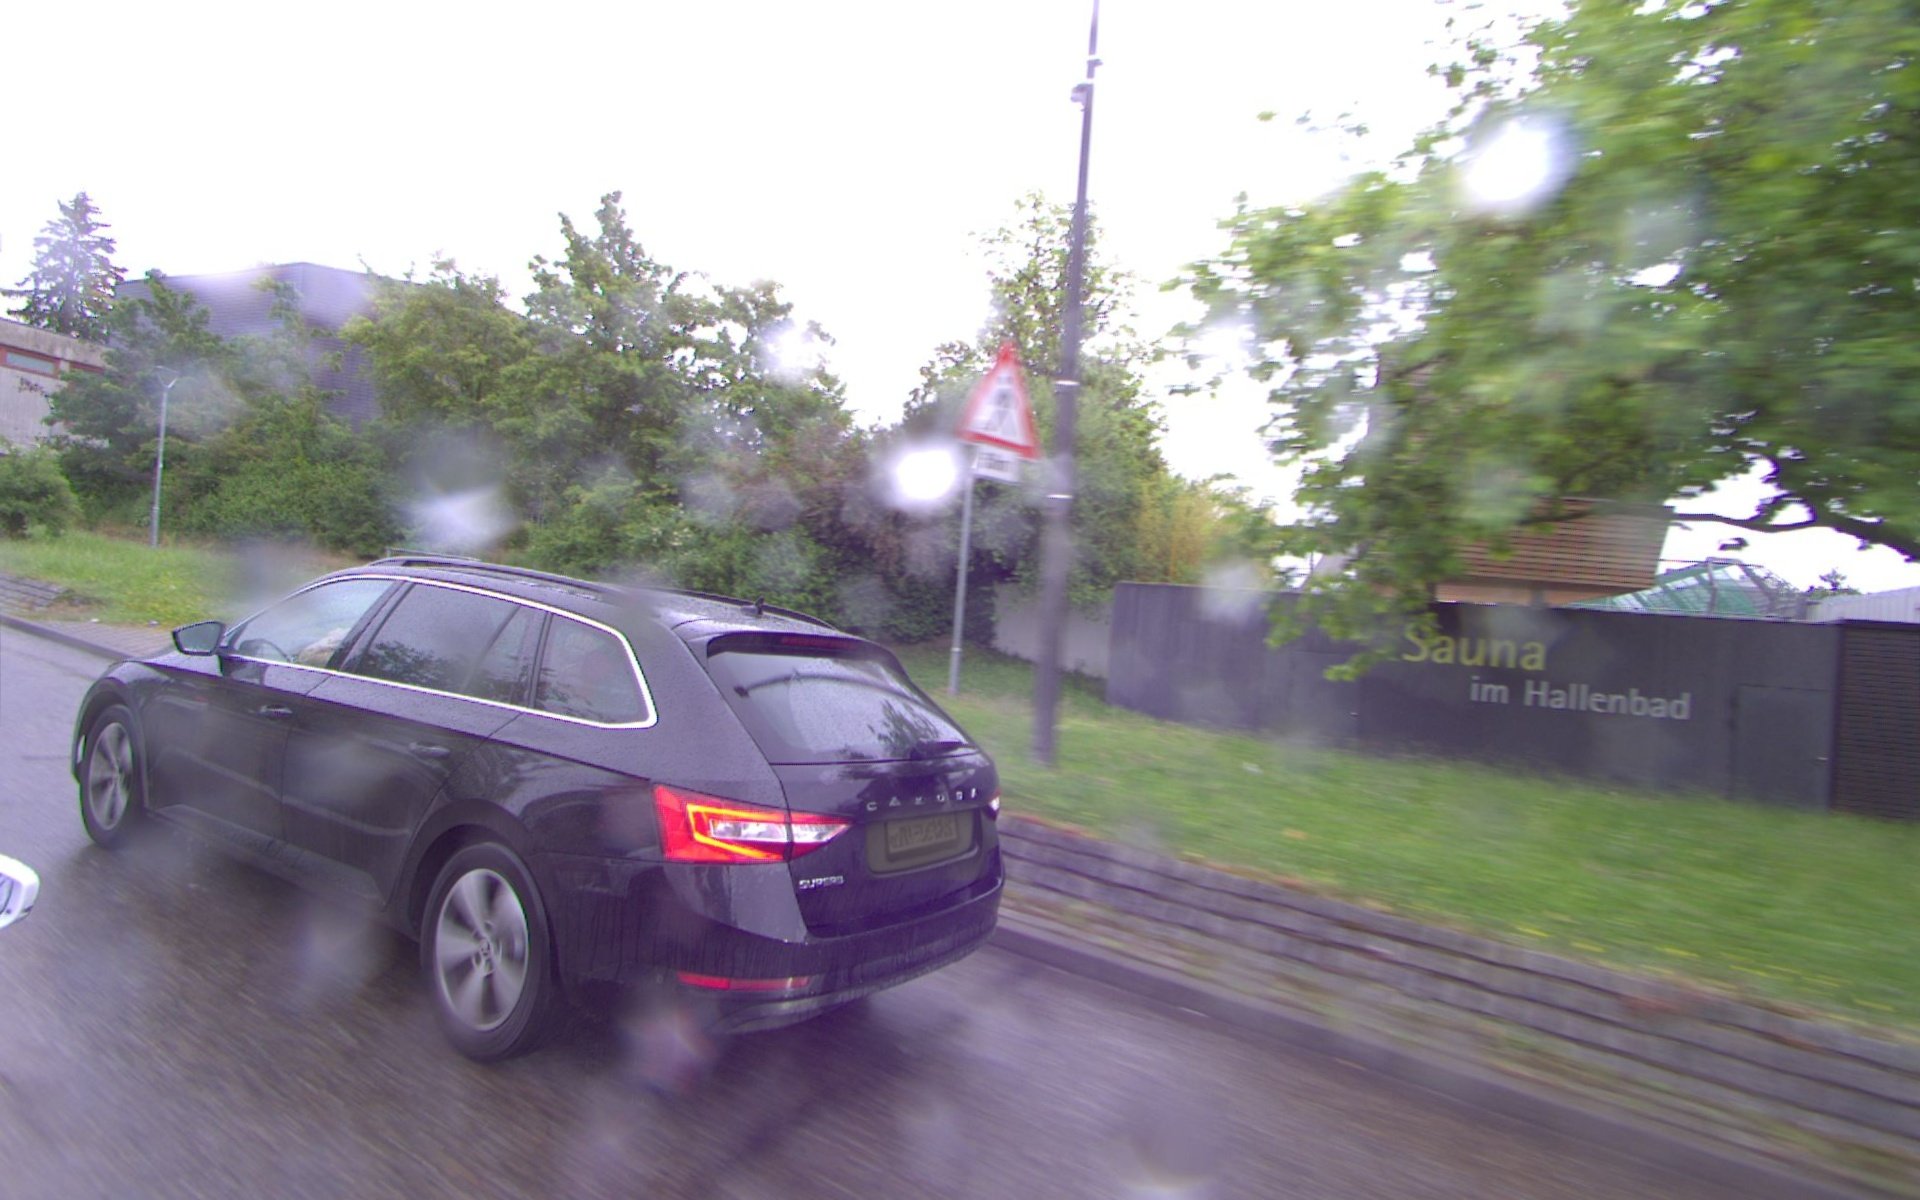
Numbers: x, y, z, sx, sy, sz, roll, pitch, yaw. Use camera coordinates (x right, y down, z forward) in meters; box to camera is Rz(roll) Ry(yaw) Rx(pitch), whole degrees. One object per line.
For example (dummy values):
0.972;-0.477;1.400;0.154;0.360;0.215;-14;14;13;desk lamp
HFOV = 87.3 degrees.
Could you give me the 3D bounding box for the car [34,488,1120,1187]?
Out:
-1.863;0.535;4.392;4.533;1.523;1.959;6;-4;32;car
